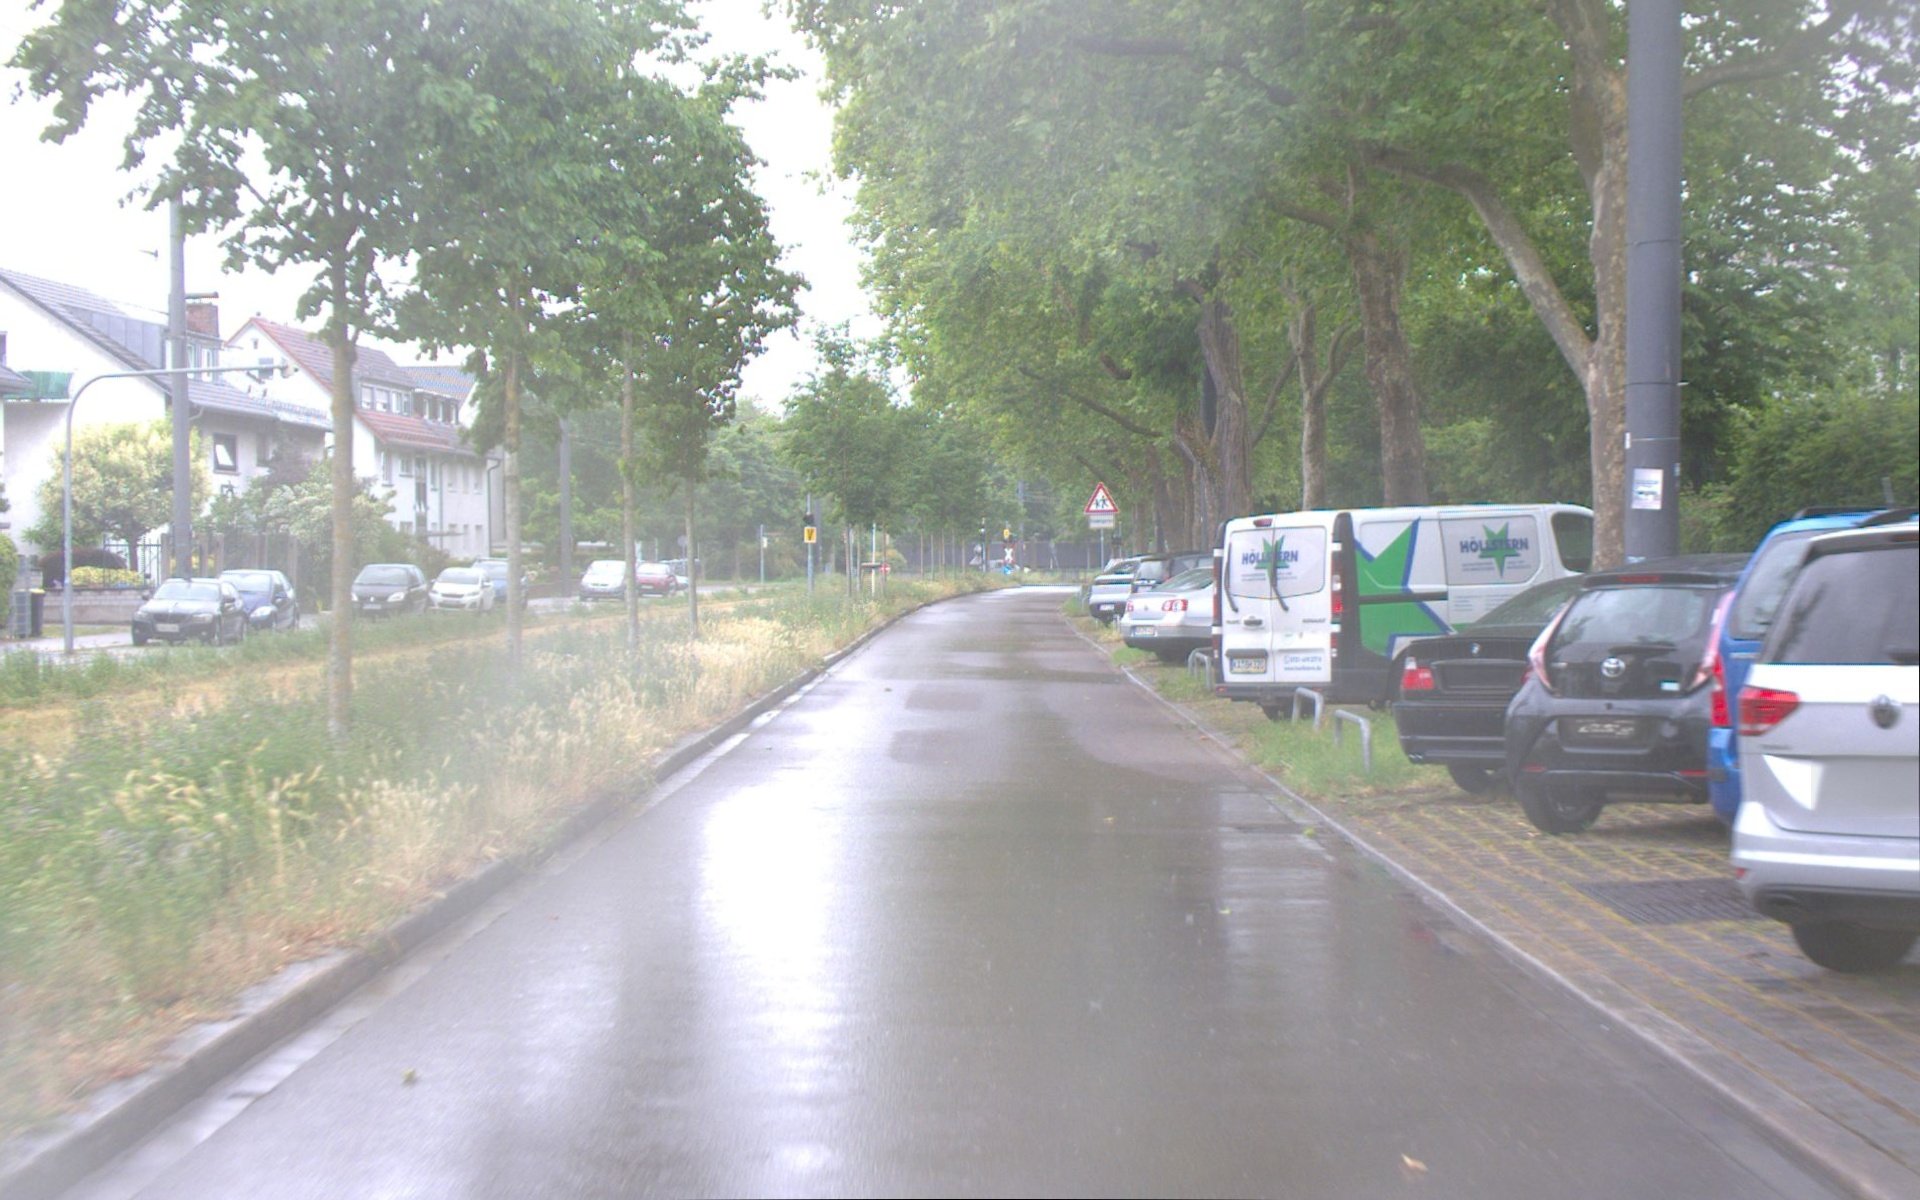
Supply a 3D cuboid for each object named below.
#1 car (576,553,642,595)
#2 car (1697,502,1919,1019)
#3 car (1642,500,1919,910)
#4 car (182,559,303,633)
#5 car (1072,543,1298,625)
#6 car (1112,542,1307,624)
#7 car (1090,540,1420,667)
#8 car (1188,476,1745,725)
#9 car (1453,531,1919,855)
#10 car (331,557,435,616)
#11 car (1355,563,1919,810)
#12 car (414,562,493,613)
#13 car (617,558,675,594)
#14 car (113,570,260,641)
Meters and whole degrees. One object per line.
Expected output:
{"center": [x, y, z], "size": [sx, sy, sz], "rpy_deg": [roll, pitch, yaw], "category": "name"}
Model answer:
{"center": [-13.975, -1.056, 137.050], "size": [1.993, 1.575, 4.517], "rpy_deg": [1, 1, 2], "category": "car"}
{"center": [4.596, 0.443, 12.135], "size": [4.036, 1.635, 1.654], "rpy_deg": [-2, 2, -38], "category": "car"}
{"center": [4.853, 0.370, 15.462], "size": [3.265, 1.666, 1.592], "rpy_deg": [-3, 1, -34], "category": "car"}
{"center": [-16.081, -0.110, 77.199], "size": [1.874, 1.545, 3.870], "rpy_deg": [1, 1, 0], "category": "car"}
{"center": [4.972, -0.363, 75.727], "size": [4.760, 1.662, 1.994], "rpy_deg": [-2, 1, -36], "category": "car"}
{"center": [5.095, -0.359, 70.111], "size": [3.702, 1.561, 1.619], "rpy_deg": [-2, 1, -32], "category": "car"}
{"center": [4.370, 0.021, 50.711], "size": [4.546, 1.539, 1.888], "rpy_deg": [-4, 3, -31], "category": "car"}
{"center": [4.720, -0.057, 31.707], "size": [5.014, 2.006, 2.000], "rpy_deg": [-3, 2, -34], "category": "car"}
{"center": [4.535, 0.421, 18.361], "size": [3.394, 1.513, 1.850], "rpy_deg": [-3, 1, -37], "category": "car"}
{"center": [-15.860, -0.397, 94.694], "size": [1.993, 1.511, 4.205], "rpy_deg": [1, 1, 2], "category": "car"}
{"center": [4.633, 0.475, 21.714], "size": [4.293, 1.379, 1.740], "rpy_deg": [-1, 1, -39], "category": "car"}
{"center": [-15.642, -0.389, 106.298], "size": [1.796, 1.483, 3.597], "rpy_deg": [1, 1, 2], "category": "car"}
{"center": [-13.760, -1.072, 150.727], "size": [1.993, 1.483, 4.205], "rpy_deg": [1, 1, 2], "category": "car"}
{"center": [-16.214, 0.097, 72.293], "size": [1.993, 1.346, 4.240], "rpy_deg": [1, 1, 2], "category": "car"}
